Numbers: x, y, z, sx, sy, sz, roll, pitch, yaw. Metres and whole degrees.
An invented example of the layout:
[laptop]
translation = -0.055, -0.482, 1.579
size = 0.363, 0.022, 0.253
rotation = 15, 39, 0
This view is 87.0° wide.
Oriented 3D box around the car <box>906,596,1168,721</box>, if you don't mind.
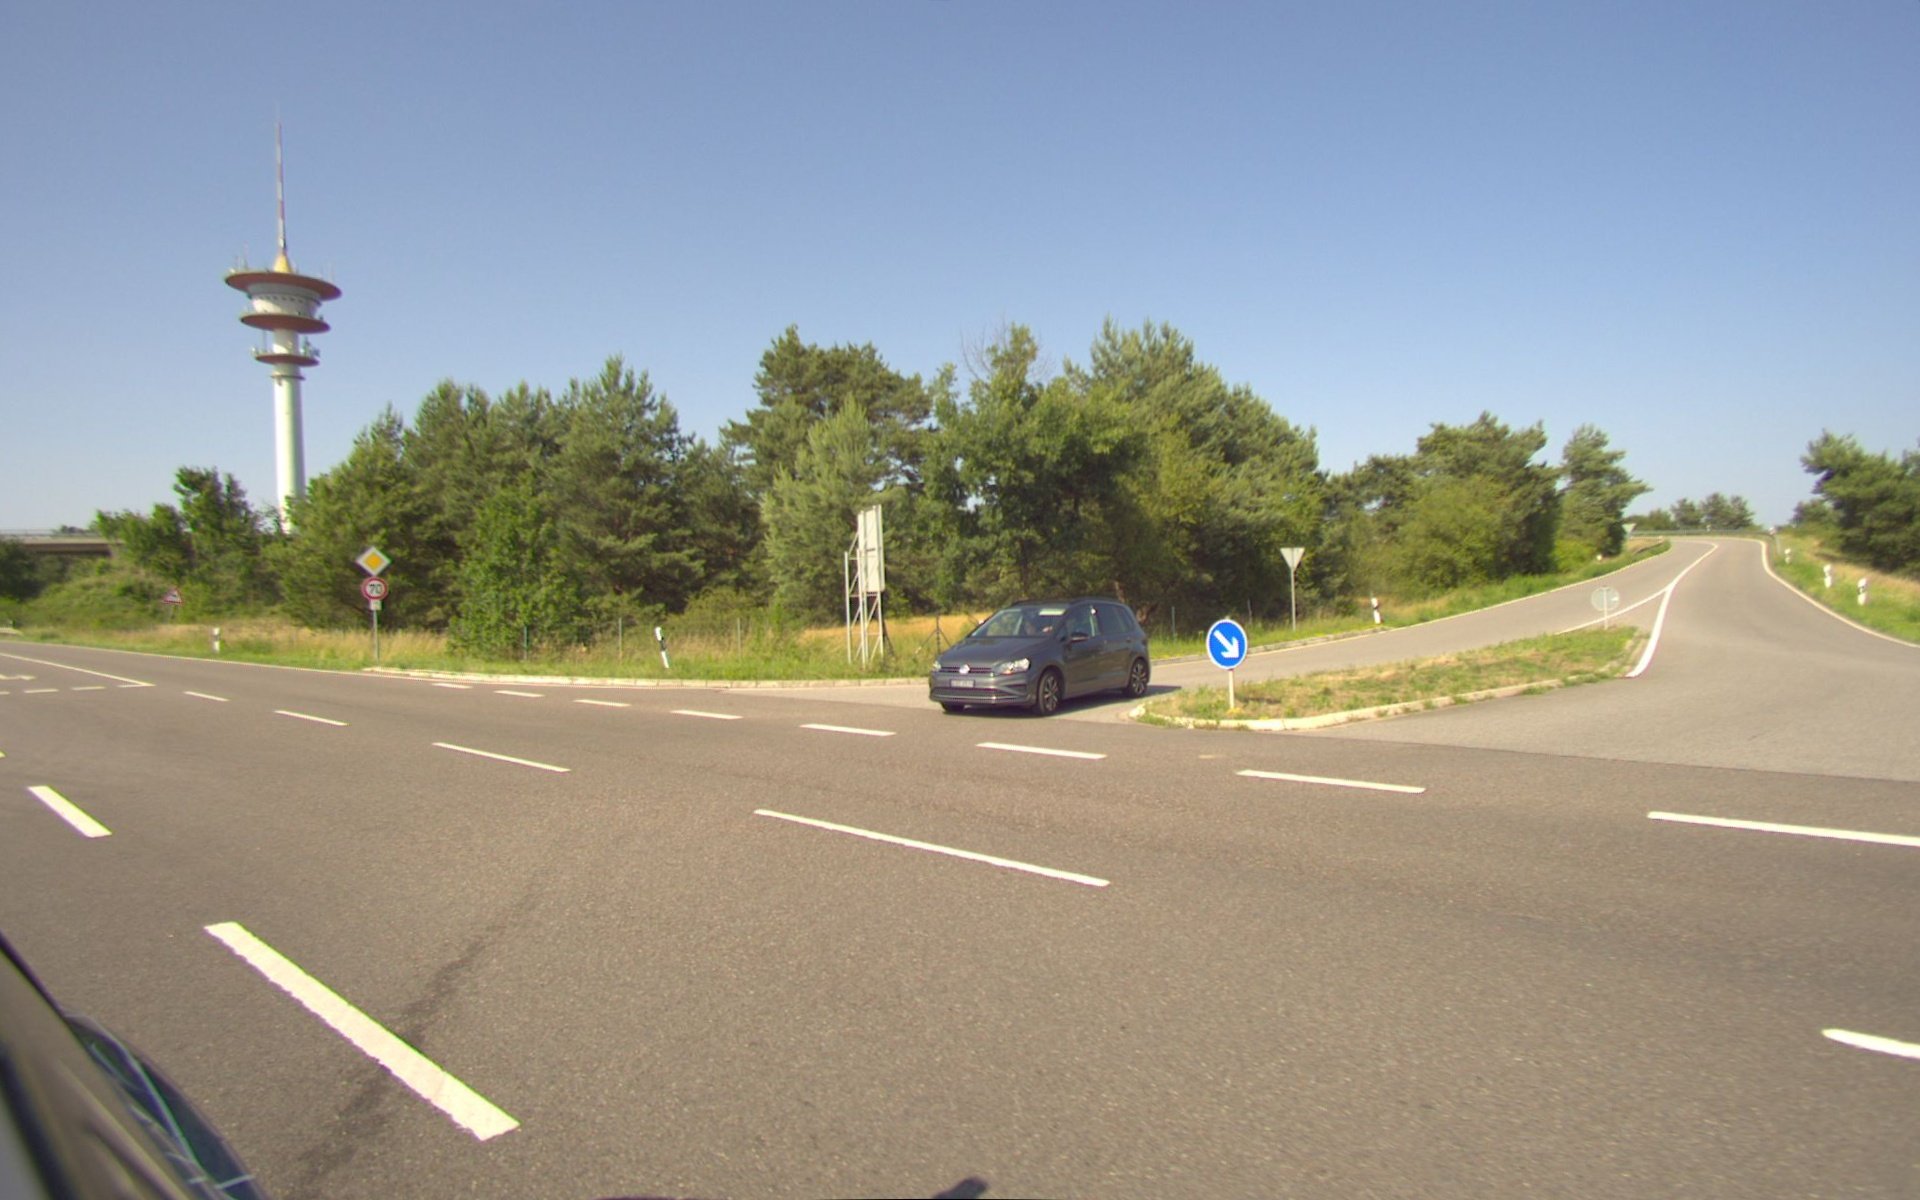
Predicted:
[car]
translation = 1.250, 0.753, 14.750
size = 1.868, 1.553, 4.023
rotation = -2, -1, 38
